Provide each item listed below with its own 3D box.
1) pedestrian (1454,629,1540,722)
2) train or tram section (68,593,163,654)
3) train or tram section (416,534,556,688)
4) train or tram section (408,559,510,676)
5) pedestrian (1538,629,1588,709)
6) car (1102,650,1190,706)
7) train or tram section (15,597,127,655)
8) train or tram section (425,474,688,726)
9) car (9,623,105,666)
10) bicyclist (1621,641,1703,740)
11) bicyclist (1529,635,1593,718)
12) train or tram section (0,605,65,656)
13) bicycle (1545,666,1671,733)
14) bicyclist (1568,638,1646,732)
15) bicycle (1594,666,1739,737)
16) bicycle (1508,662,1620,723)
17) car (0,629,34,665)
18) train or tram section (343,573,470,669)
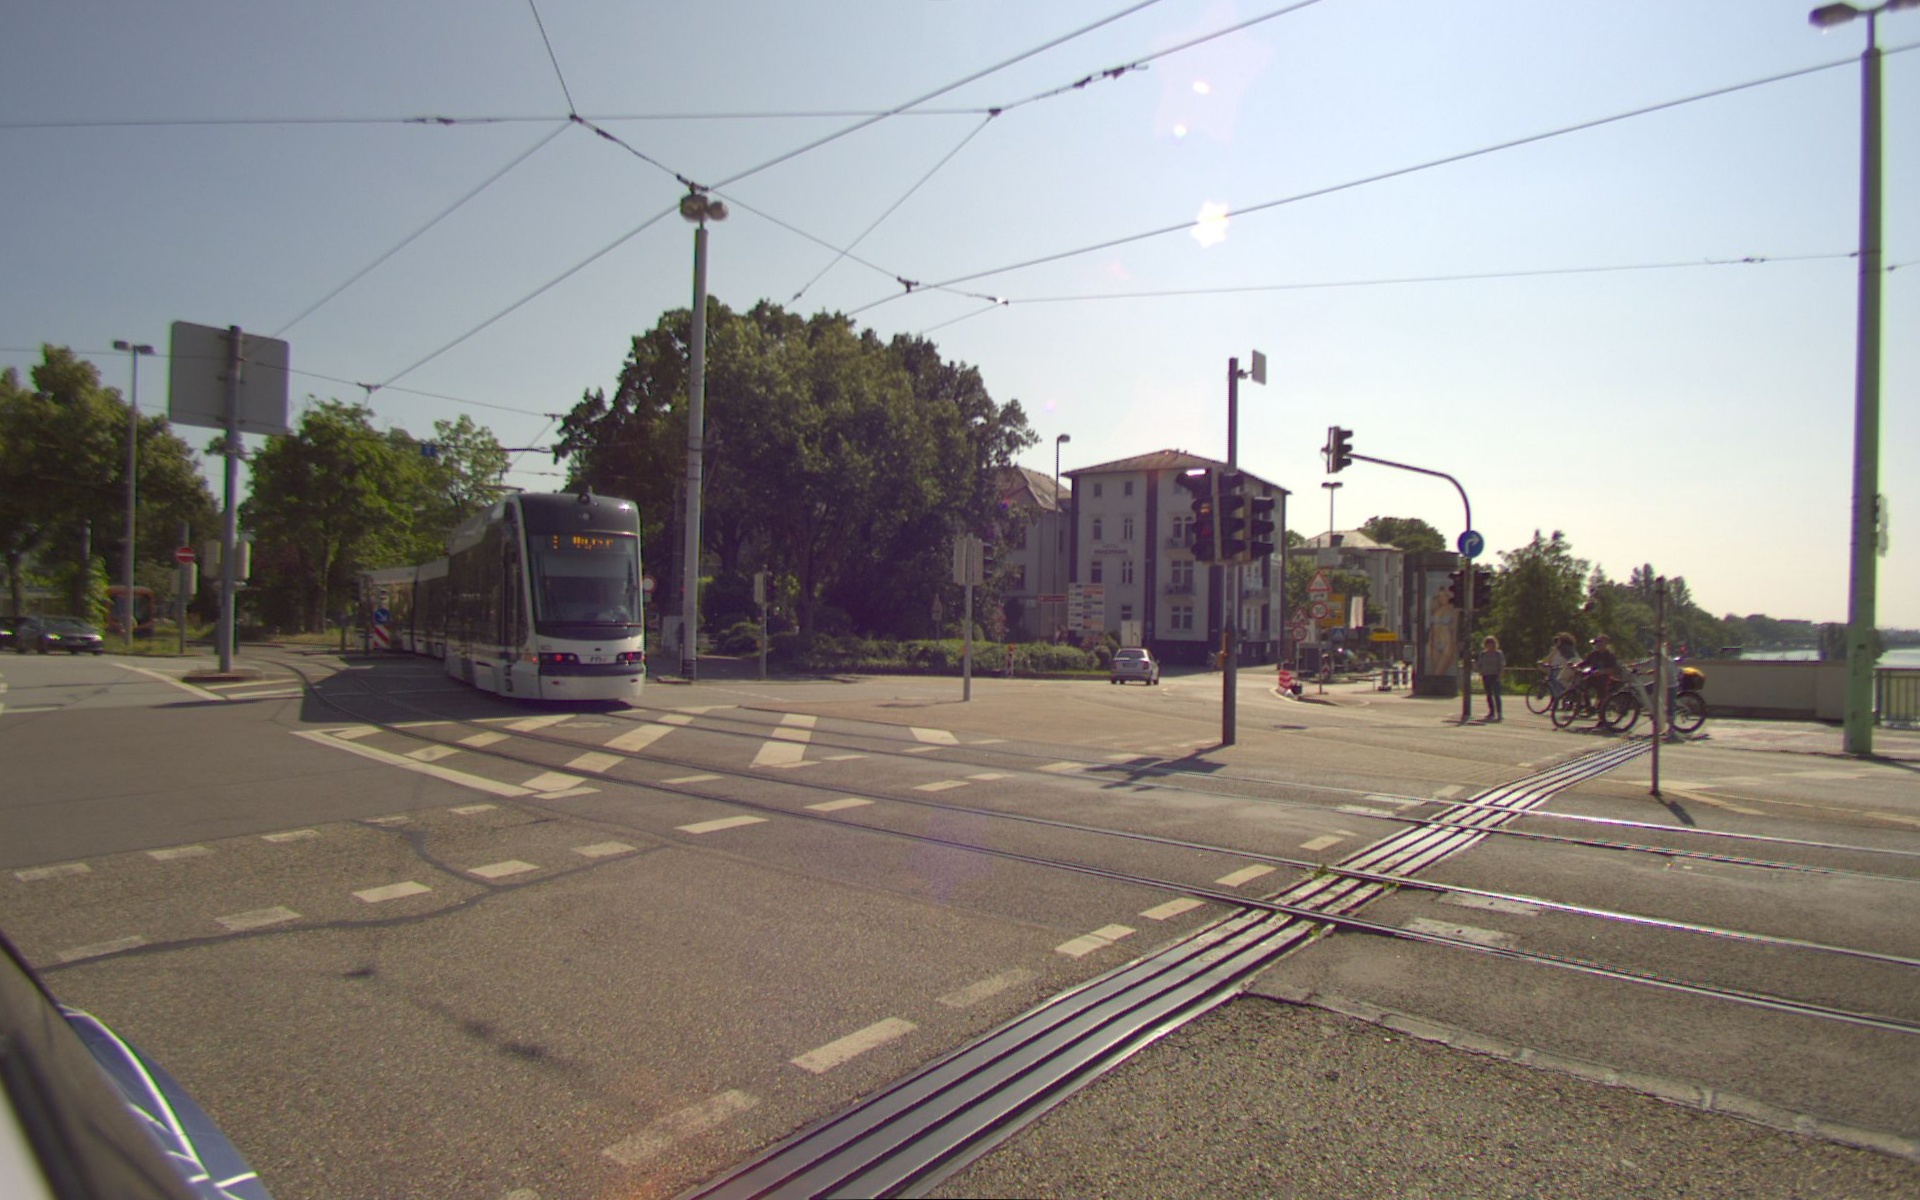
[{"bbox_3d":[10.832,1.506,20.447,1.141,1.816,0.941,-1,-2,-3],"label":"pedestrian"},{"bbox_3d":[-50.093,1.424,60.002,5.872,3.429,2.736,-1,-4,35],"label":"train or tram section"},{"bbox_3d":[-13.845,0.473,29.071,2.371,3.709,9.645,2,-3,-32],"label":"train or tram section"},{"bbox_3d":[-18.632,0.774,37.328,2.502,3.806,9.195,2,-3,-31],"label":"train or tram section"},{"bbox_3d":[13.905,1.570,23.348,0.686,1.806,0.701,1,-2,-3],"label":"pedestrian"},{"bbox_3d":[7.550,3.086,40.795,1.996,2.029,3.951,-2,-2,36],"label":"car"},{"bbox_3d":[-57.532,1.742,65.351,12.387,3.429,2.735,-1,-4,36],"label":"train or tram section"},{"bbox_3d":[-8.852,0.253,20.844,2.436,3.806,11.879,2,-3,-34],"label":"train or tram section"},{"bbox_3d":[-33.985,1.666,38.049,4.739,1.497,1.732,-1,-4,37],"label":"car"},{"bbox_3d":[11.908,1.510,17.191,0.761,1.621,0.879,1,-2,1],"label":"bicyclist"},{"bbox_3d":[12.484,1.571,21.033,0.864,1.687,0.774,1,-2,-21],"label":"bicyclist"},{"bbox_3d":[-67.890,2.222,72.582,12.385,3.429,2.735,-1,-4,36],"label":"train or tram section"},{"bbox_3d":[11.586,1.767,18.116,1.888,1.122,0.763,1,-2,-11],"label":"bicycle"},{"bbox_3d":[11.572,1.504,18.127,0.866,1.621,0.773,1,-2,-9],"label":"bicyclist"},{"bbox_3d":[11.953,1.712,17.173,1.894,1.122,0.761,1,-2,1],"label":"bicycle"},{"bbox_3d":[12.507,1.894,21.032,0.748,1.122,1.926,1,-2,-22],"label":"bicycle"},{"bbox_3d":[-39.386,1.893,41.197,3.994,1.422,1.776,-1,-4,37],"label":"car"},{"bbox_3d":[-24.610,0.993,44.710,2.507,3.806,9.178,5,-5,-43],"label":"train or tram section"}]
